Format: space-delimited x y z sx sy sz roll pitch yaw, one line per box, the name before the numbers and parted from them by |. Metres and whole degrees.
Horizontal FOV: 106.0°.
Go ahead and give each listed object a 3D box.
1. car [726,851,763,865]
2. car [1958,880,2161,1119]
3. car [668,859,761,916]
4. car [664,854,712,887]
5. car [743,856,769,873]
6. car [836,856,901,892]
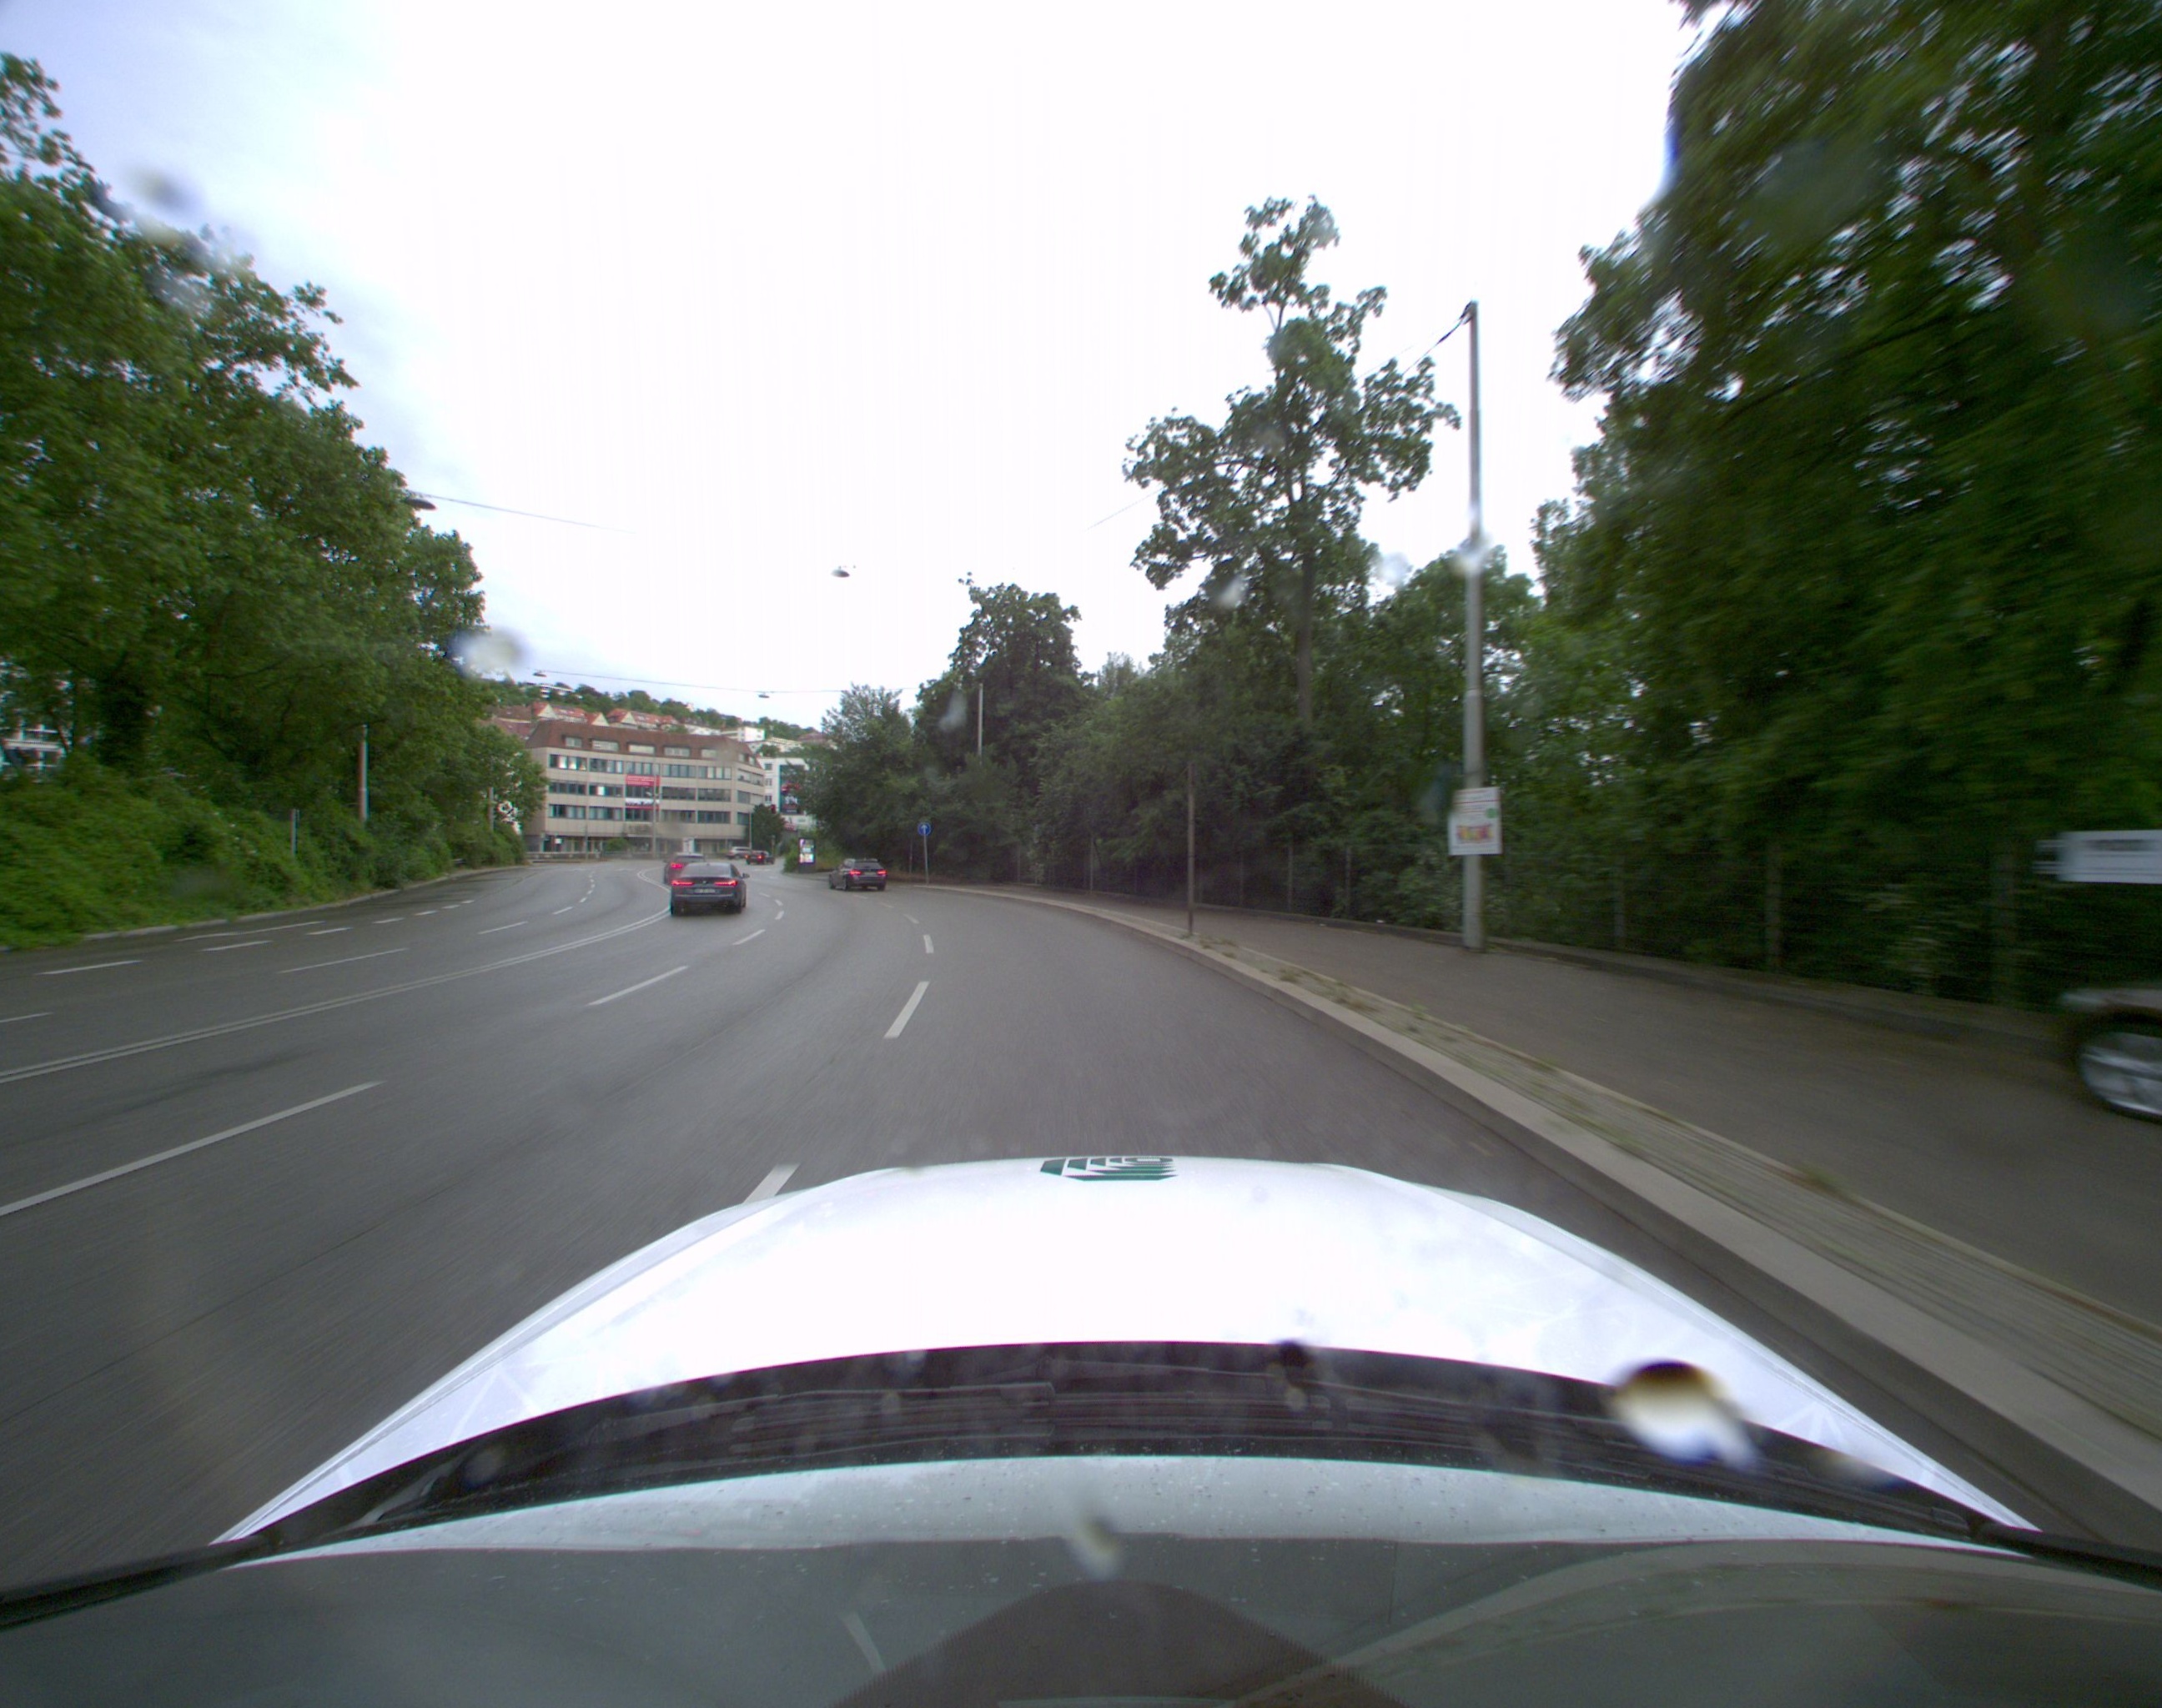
car | -41.964 0.470 101.542 4.020 1.728 1.646 -1 0 -40
car | 7.515 0.953 3.954 1.683 1.426 4.367 3 0 -3
car | -10.548 0.891 23.728 1.667 1.415 4.518 0 1 -14
car | -20.163 0.809 41.883 1.764 1.586 4.382 -1 0 -20
car | -33.745 1.066 84.605 1.831 1.651 3.984 0 0 -11
car | -9.857 0.951 37.557 1.769 1.433 4.369 -1 -4 -30
